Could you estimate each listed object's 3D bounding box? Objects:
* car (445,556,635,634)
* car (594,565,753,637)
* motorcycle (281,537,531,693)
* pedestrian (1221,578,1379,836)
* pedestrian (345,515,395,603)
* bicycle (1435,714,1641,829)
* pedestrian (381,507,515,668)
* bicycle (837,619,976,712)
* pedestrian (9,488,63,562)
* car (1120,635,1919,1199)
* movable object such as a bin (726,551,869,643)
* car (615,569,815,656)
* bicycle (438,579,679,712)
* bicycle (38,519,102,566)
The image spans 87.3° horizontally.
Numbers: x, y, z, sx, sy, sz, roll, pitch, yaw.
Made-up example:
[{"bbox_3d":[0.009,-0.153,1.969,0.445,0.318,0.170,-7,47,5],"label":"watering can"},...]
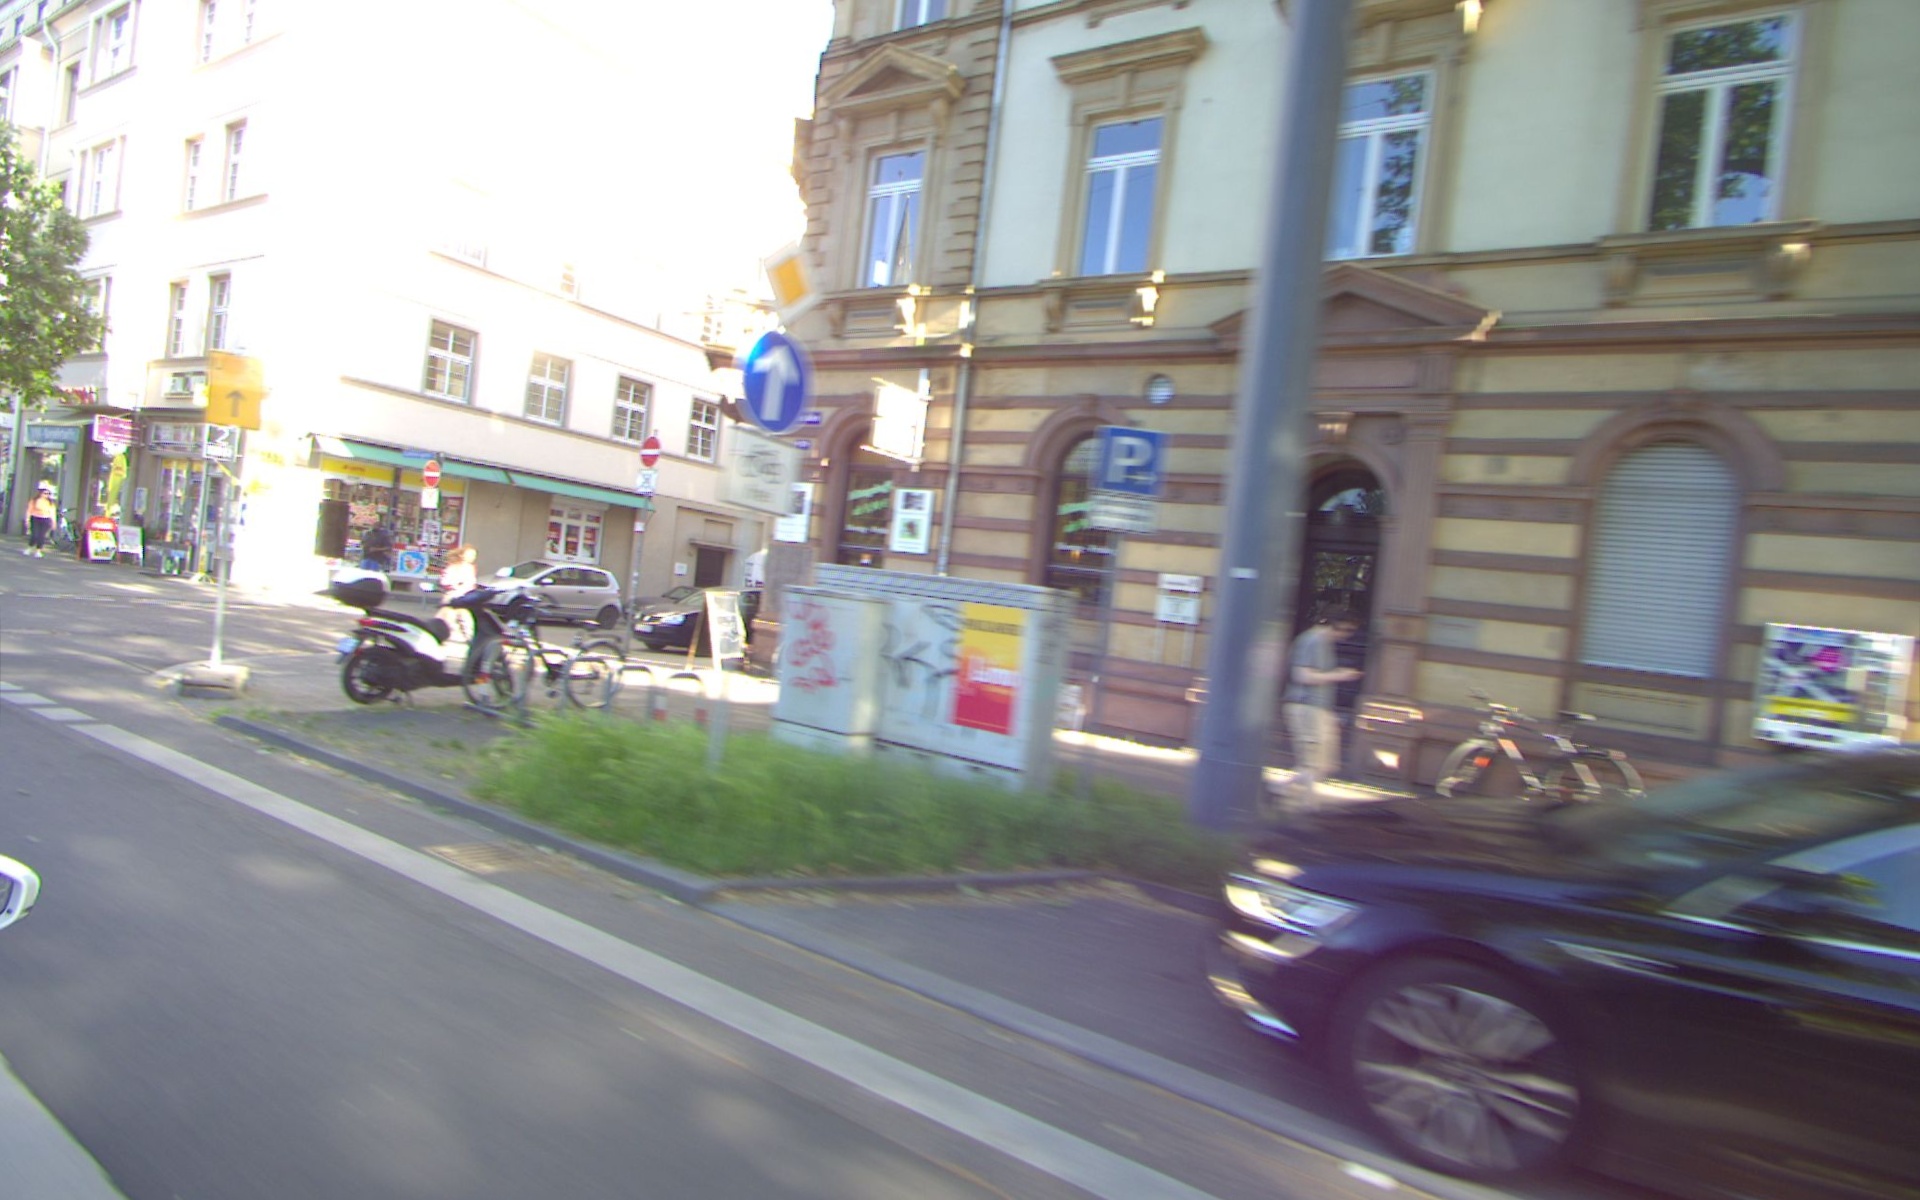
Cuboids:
[{"bbox_3d":[-10.198,-0.072,24.691,1.640,1.492,3.940,7,0,35],"label":"car"},{"bbox_3d":[-8.060,0.076,28.636,1.815,1.615,3.988,6,-1,35],"label":"car"},{"bbox_3d":[-5.056,0.195,9.346,0.507,1.245,1.954,6,-2,28],"label":"motorcycle"},{"bbox_3d":[2.691,0.818,7.953,0.880,1.848,0.644,6,-1,31],"label":"pedestrian"},{"bbox_3d":[-13.526,-0.937,23.073,0.577,1.926,0.553,6,-1,21],"label":"pedestrian"},{"bbox_3d":[5.590,1.630,9.798,1.635,0.784,0.549,6,2,32],"label":"bicycle"},{"bbox_3d":[-7.068,-0.160,13.916,1.029,2.037,1.089,6,-1,33],"label":"pedestrian"},{"bbox_3d":[-0.738,0.855,13.394,1.851,1.009,0.415,6,0,32],"label":"bicycle"},{"bbox_3d":[-21.733,-1.757,23.661,0.553,1.641,0.683,6,0,29],"label":"pedestrian"},{"bbox_3d":[3.076,1.181,3.123,4.629,1.532,1.822,6,-2,31],"label":"car"},{"bbox_3d":[-5.192,-0.056,32.574,2.505,2.576,3.778,4,-2,35],"label":"movable object such as a bin"},{"bbox_3d":[-5.110,0.305,21.426,1.612,1.429,3.908,6,-1,37],"label":"car"},{"bbox_3d":[-3.812,0.496,9.798,0.448,1.106,2.226,6,-2,33],"label":"bicycle"},{"bbox_3d":[-23.439,-1.524,26.468,2.579,1.037,0.491,6,1,32],"label":"bicycle"}]
